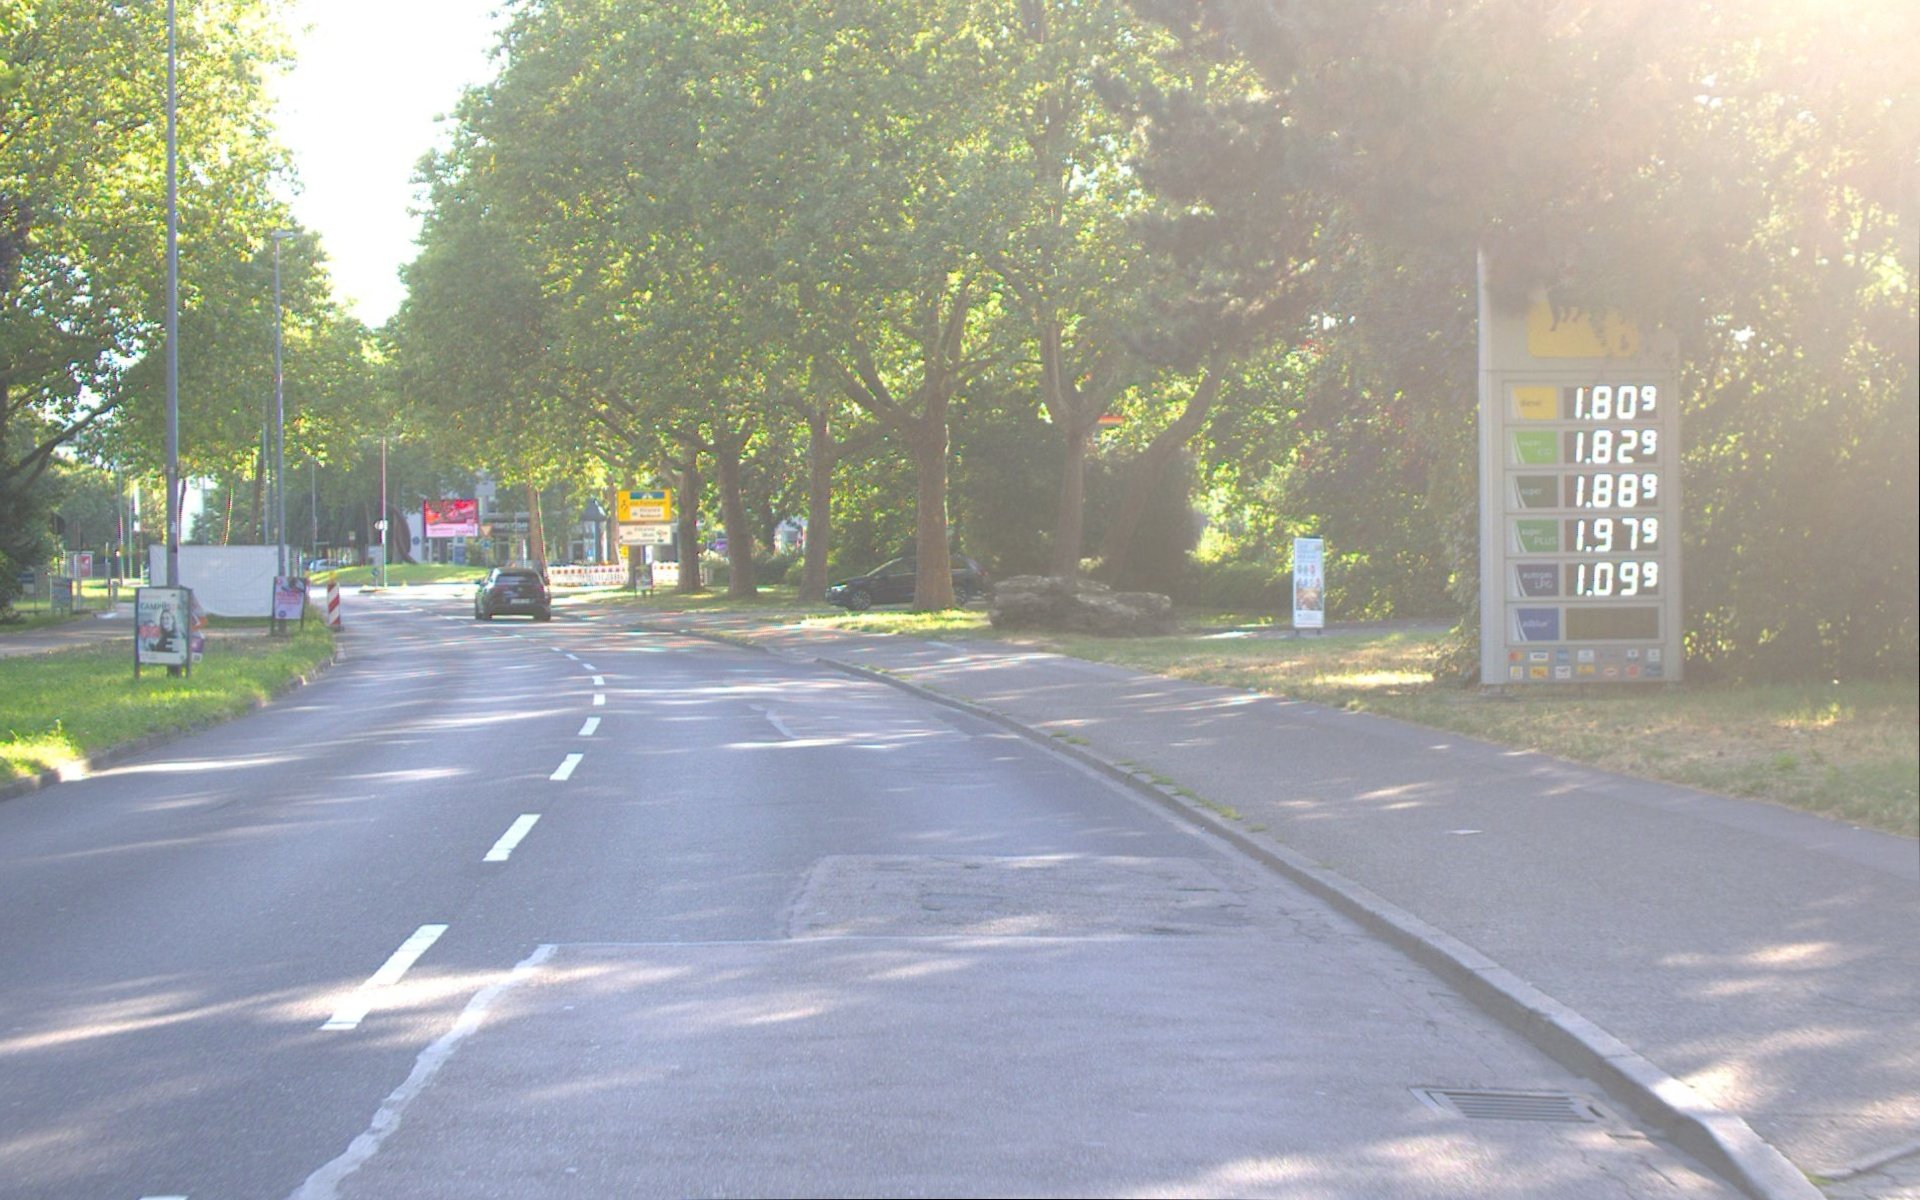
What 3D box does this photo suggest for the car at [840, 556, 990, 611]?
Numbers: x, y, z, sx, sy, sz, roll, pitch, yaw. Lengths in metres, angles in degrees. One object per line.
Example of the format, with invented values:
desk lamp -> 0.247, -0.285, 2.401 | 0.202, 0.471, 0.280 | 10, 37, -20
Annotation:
car -> -1.276, -0.470, 96.217 | 3.986, 1.438, 1.761 | -1, 1, -8

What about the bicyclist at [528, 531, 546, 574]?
bicyclist -> -17.116, -1.923, 138.996 | 0.650, 1.699, 0.872 | 1, 1, -11

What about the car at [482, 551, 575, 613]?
car -> -11.635, -0.510, 92.812 | 1.839, 1.600, 3.862 | -1, 1, 3

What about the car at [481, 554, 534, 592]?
car -> -24.451, -1.482, 186.010 | 1.994, 2.007, 3.999 | 0, 1, 5
